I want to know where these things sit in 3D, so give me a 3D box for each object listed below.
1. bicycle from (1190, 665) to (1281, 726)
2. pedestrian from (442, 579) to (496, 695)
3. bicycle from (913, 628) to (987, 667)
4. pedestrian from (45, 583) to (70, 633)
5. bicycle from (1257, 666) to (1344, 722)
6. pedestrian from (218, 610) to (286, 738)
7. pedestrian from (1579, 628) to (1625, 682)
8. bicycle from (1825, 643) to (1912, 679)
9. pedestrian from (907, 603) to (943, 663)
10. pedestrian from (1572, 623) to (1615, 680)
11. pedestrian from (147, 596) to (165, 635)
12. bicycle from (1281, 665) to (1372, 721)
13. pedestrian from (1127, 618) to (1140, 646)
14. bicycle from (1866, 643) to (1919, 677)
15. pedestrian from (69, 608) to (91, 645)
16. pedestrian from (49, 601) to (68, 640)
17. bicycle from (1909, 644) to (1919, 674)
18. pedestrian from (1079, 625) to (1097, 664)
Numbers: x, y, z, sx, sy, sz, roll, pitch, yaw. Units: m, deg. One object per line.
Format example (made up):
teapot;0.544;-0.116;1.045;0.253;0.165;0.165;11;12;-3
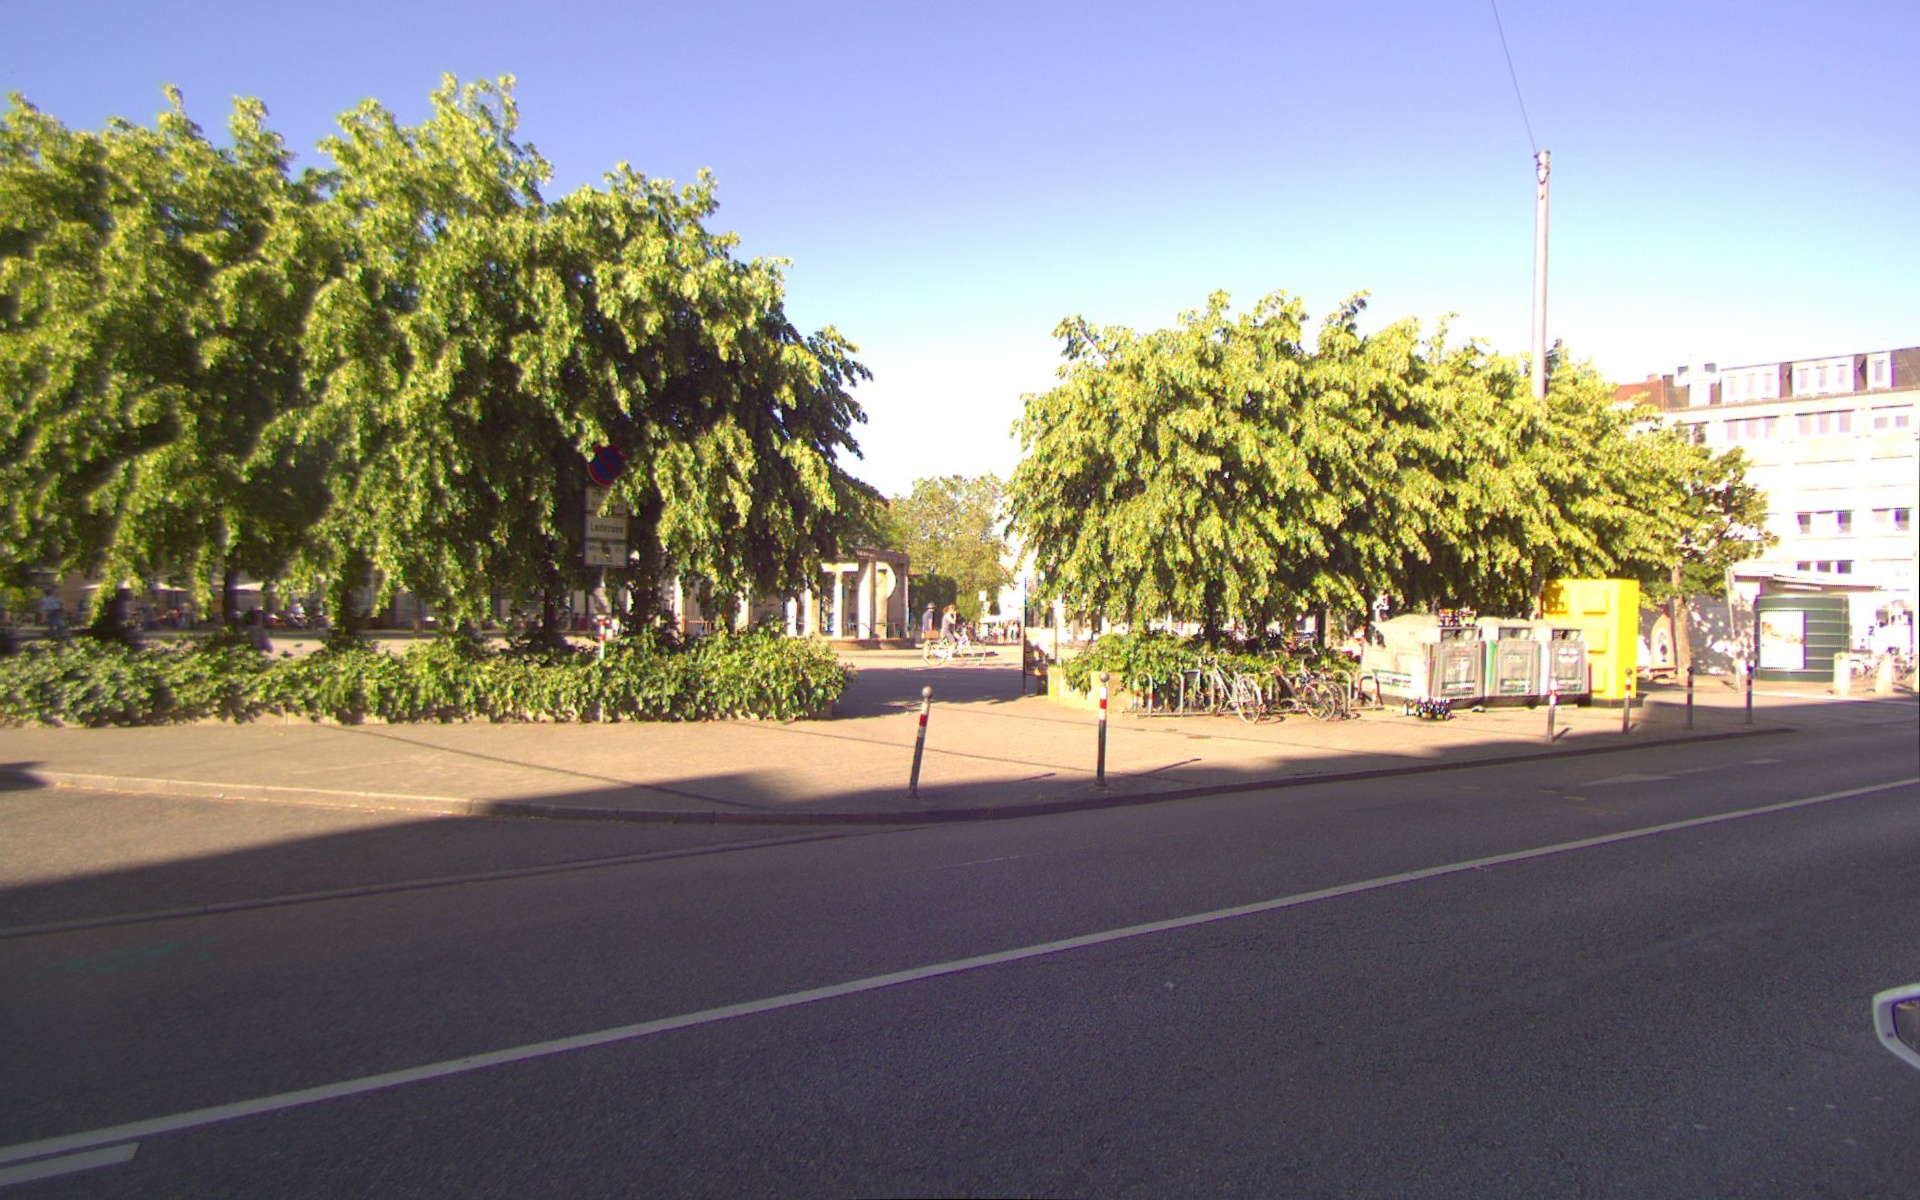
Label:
bicycle;4.231;1.452;15.539;0.467;0.779;1.653;2;0;-20
pedestrian;-8.146;0.607;16.672;0.574;1.881;0.598;1;0;41
bicycle;-0.294;1.324;28.065;2.020;1.030;0.503;2;0;-3
pedestrian;-33.055;0.304;36.794;0.597;1.816;0.576;2;0;-40
bicycle;5.458;1.491;16.183;0.435;0.779;1.469;2;0;-25
pedestrian;-10.731;1.098;15.248;0.722;1.881;0.578;2;0;-28
pedestrian;20.301;1.722;31.774;0.727;1.658;0.983;1;0;-26
bicycle;30.860;2.064;34.156;0.796;1.119;2.072;1;-1;-30
pedestrian;-1.076;1.003;30.459;0.918;1.775;0.728;2;0;-15
pedestrian;20.038;1.627;31.762;0.734;1.748;0.898;1;0;-26
pedestrian;-37.325;0.725;46.630;0.579;1.816;0.593;2;0;-44
bicycle;5.960;1.498;16.418;0.468;0.779;1.468;2;0;-27
pedestrian;11.229;2.053;64.964;0.591;1.816;0.581;1;0;-12
bicycle;33.165;2.111;35.130;0.796;1.119;2.072;1;-1;-30
pedestrian;-43.978;1.304;50.184;0.571;1.816;0.601;1;0;19
pedestrian;-42.503;0.963;47.366;0.597;1.816;0.575;2;0;-44
bicycle;37.128;2.245;37.709;0.796;1.119;2.072;1;-1;-30
pedestrian;6.733;2.334;52.814;0.670;2.040;0.579;2;0;-23
